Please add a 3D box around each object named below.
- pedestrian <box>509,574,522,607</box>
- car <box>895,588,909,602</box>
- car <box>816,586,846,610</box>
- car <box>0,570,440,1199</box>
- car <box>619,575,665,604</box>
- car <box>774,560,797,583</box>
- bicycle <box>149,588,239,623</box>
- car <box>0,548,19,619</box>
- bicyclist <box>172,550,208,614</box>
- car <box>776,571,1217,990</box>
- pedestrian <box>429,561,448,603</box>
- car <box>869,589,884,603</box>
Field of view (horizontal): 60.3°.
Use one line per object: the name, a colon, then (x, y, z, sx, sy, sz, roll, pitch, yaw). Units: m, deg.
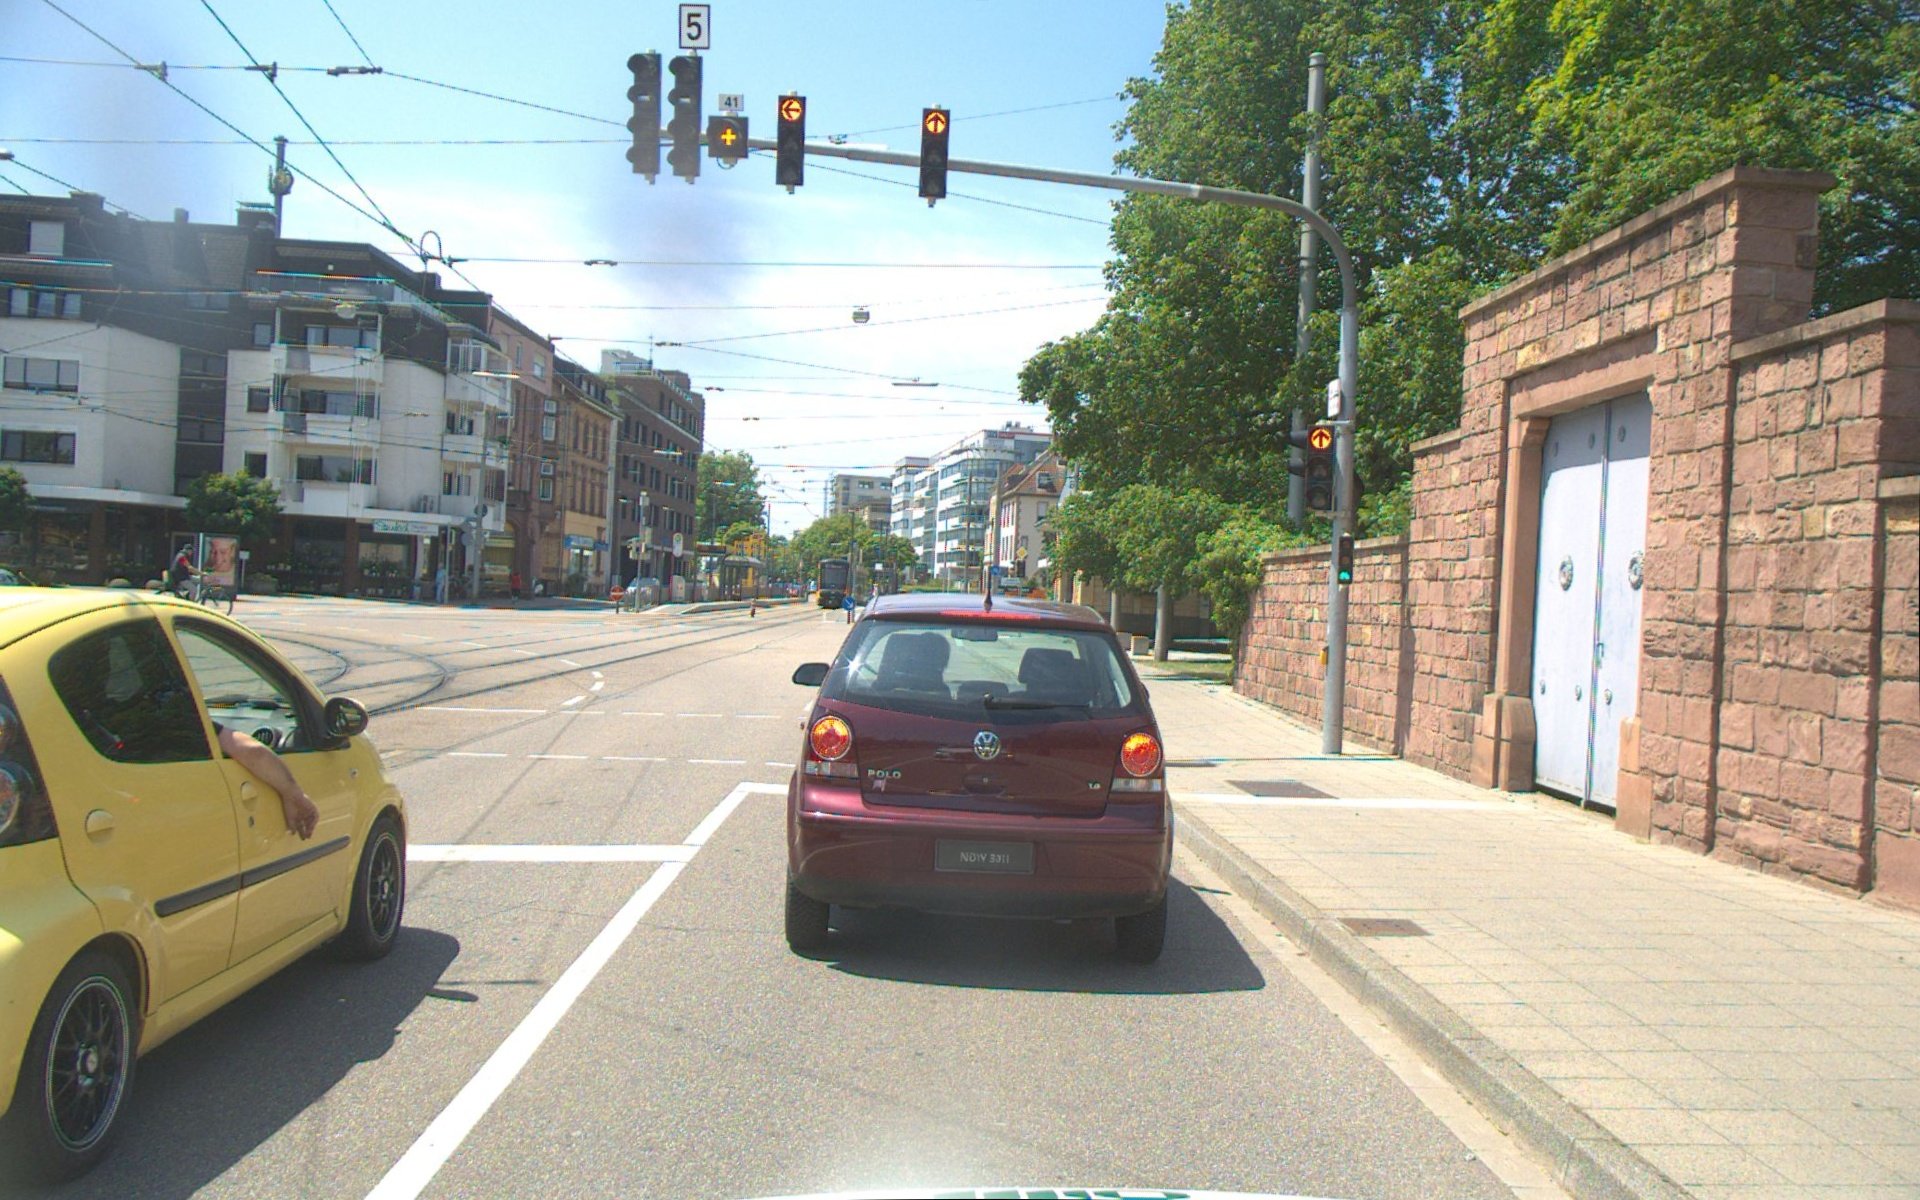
pedestrian: (-21.423, -0.463, 79.692, 0.474, 1.568, 0.538, 1, -1, -4)
car: (-6.244, -0.514, 178.012, 1.540, 1.440, 3.719, 0, 0, -1)
car: (-9.099, -0.127, 116.893, 1.899, 1.670, 3.999, 1, -1, -1)
car: (-2.966, 0.643, 5.183, 1.688, 1.470, 3.292, 1, 1, -2)
car: (-17.380, -0.580, 90.411, 1.654, 1.488, 4.000, 2, 0, 1)
car: (-16.275, -2.643, 154.150, 1.700, 2.049, 3.999, 2, 0, -1)
bicycle: (-18.563, 0.131, 40.098, 1.958, 0.797, 0.462, 1, -1, -29)
car: (-23.788, -0.415, 37.438, 4.083, 1.612, 1.925, 1, -1, -24)
bicyclist: (-18.656, -0.426, 40.050, 0.741, 1.527, 0.477, 1, -1, -28)
car: (0.077, 0.661, 8.167, 1.577, 1.489, 4.084, 2, 0, -2)
pedestrian: (-22.787, -0.780, 72.331, 0.497, 1.785, 0.606, 0, -1, 45)
car: (-10.108, -0.449, 200.239, 1.744, 1.637, 4.149, 1, 1, -3)
